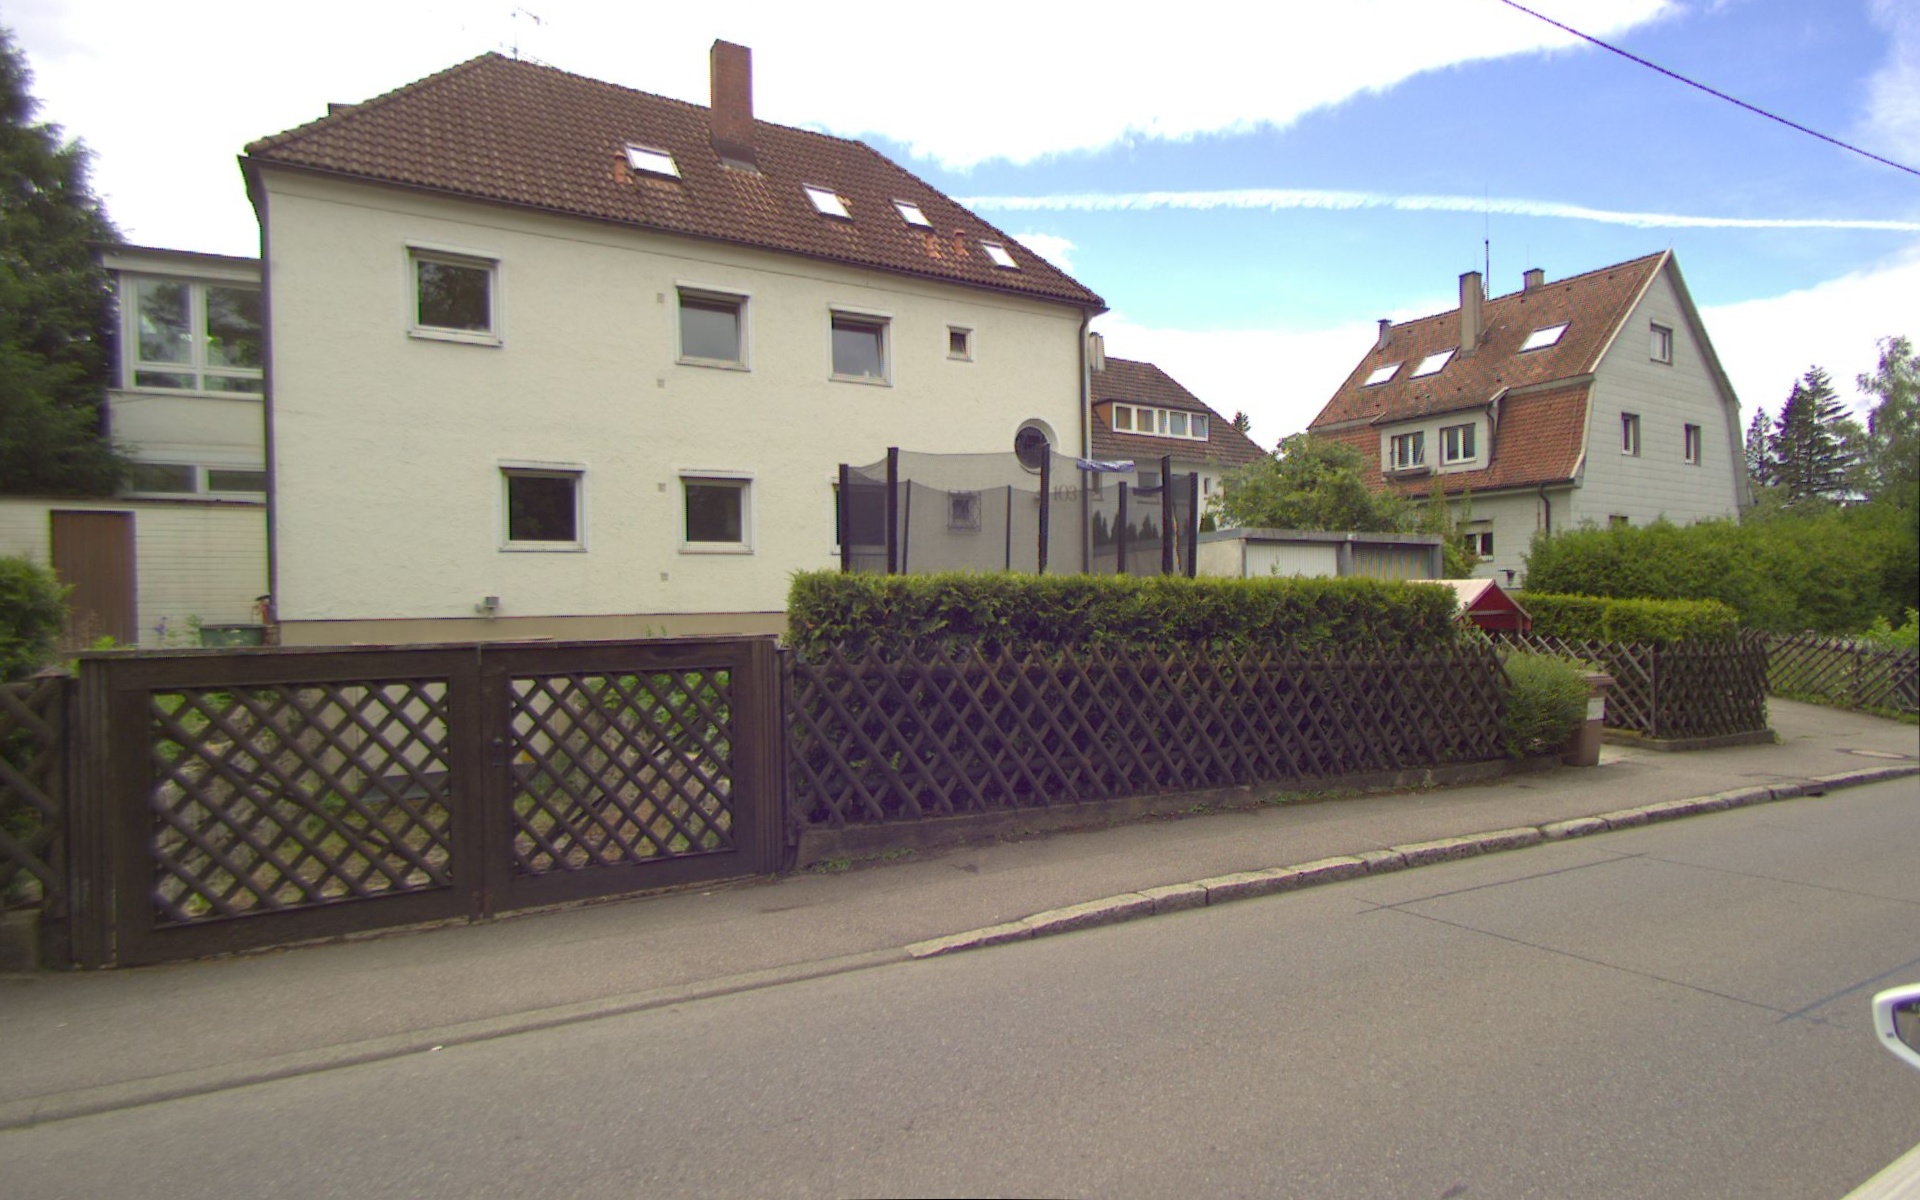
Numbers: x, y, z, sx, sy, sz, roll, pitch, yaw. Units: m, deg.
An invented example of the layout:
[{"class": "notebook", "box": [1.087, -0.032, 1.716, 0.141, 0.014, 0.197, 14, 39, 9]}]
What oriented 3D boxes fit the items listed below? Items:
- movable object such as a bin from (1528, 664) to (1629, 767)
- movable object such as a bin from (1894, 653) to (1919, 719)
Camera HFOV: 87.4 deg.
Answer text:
[{"class": "movable object such as a bin", "box": [6.156, 1.128, 10.016, 0.551, 0.925, 0.632, 0, 2, -17]}, {"class": "movable object such as a bin", "box": [14.164, 1.262, 14.734, 0.531, 0.950, 0.548, 0, -1, -28]}]
